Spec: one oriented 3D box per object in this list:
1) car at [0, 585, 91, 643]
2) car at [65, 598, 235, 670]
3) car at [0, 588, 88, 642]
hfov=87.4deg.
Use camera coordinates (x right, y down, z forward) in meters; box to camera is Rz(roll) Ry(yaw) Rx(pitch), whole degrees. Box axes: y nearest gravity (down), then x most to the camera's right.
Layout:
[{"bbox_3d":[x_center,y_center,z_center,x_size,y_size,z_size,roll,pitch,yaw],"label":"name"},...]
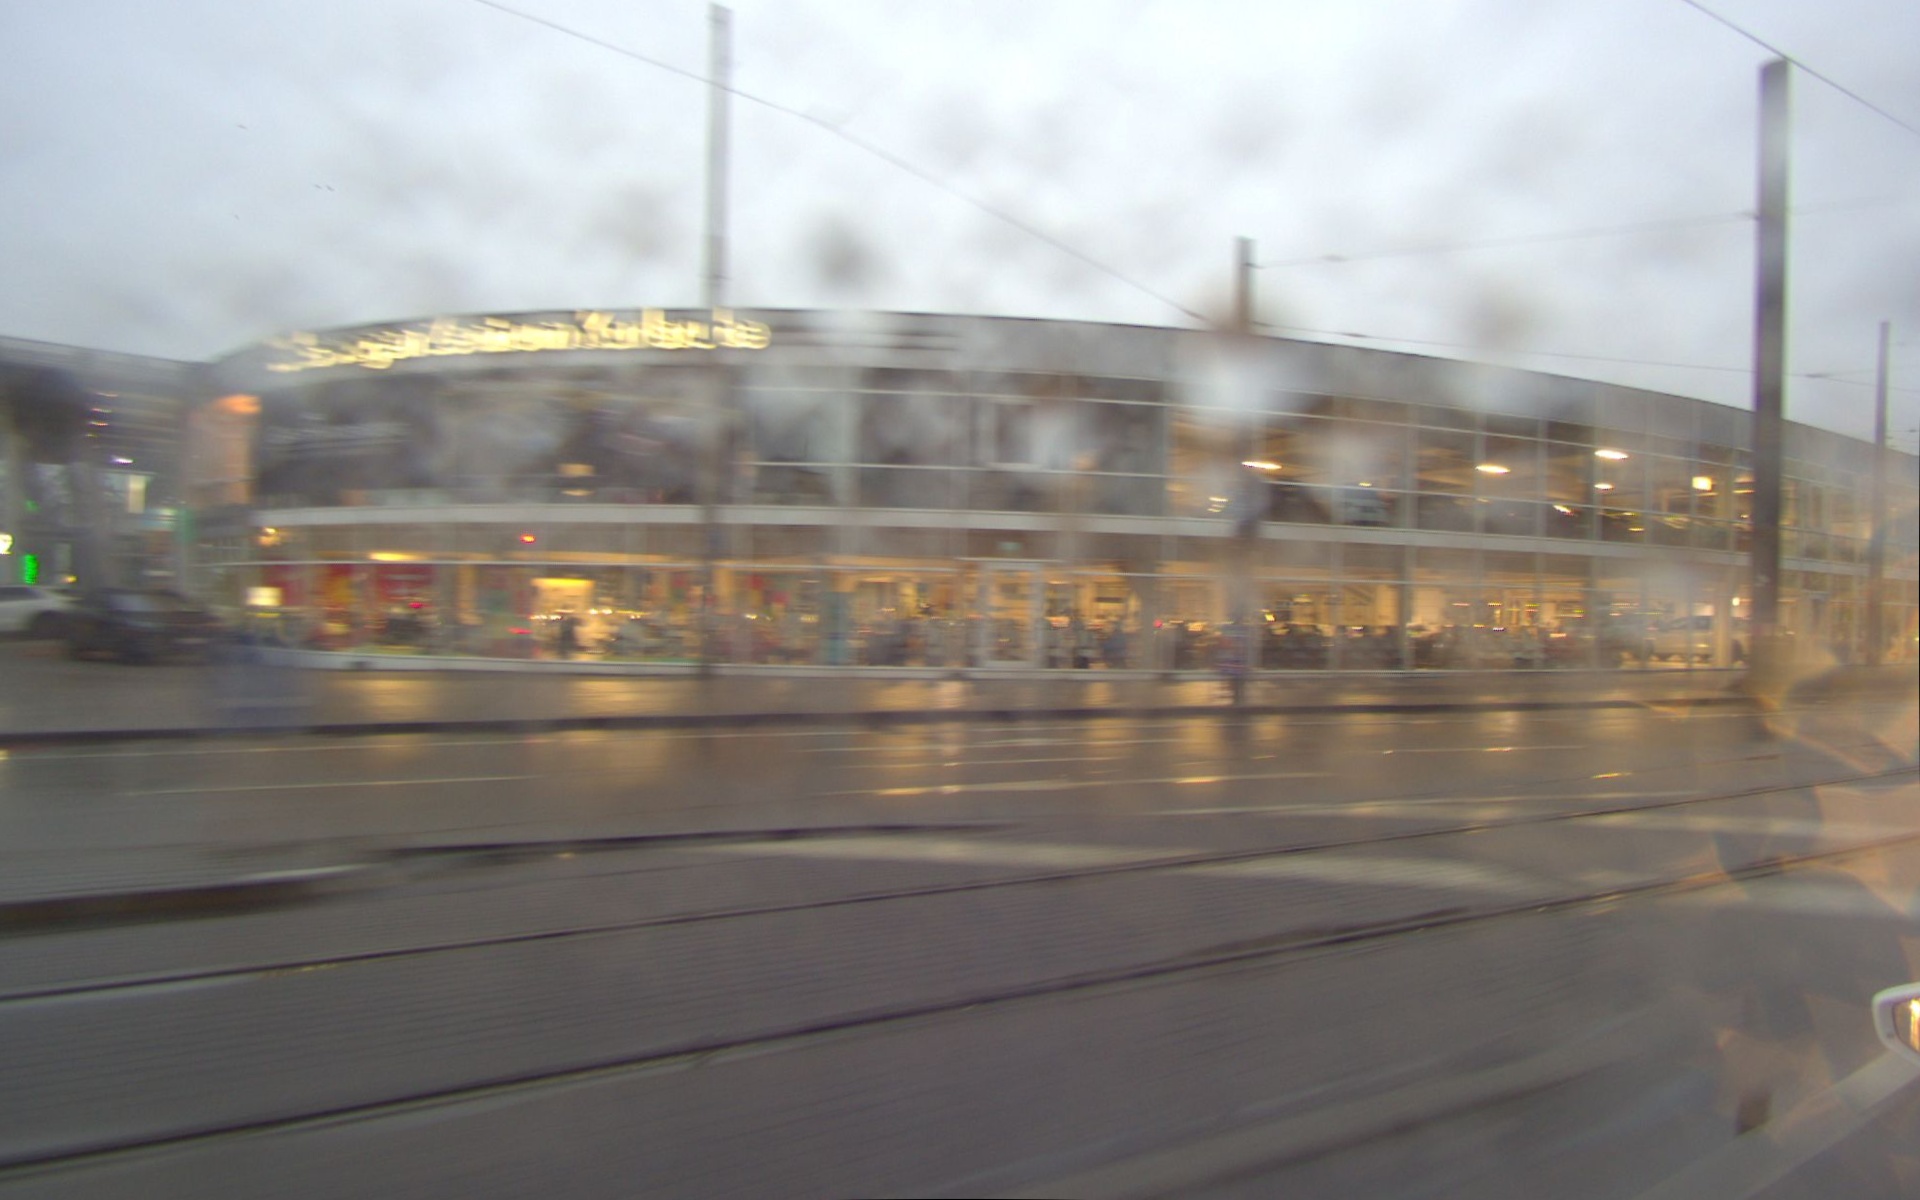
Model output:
[{"bbox_3d":[-26.825,0.357,27.601,4.386,1.543,1.862,2,0,-41],"label":"car"},{"bbox_3d":[-18.527,0.726,22.930,4.219,1.417,1.739,2,0,32],"label":"car"},{"bbox_3d":[-28.727,0.430,29.687,4.386,1.543,1.862,2,0,-41],"label":"car"}]
